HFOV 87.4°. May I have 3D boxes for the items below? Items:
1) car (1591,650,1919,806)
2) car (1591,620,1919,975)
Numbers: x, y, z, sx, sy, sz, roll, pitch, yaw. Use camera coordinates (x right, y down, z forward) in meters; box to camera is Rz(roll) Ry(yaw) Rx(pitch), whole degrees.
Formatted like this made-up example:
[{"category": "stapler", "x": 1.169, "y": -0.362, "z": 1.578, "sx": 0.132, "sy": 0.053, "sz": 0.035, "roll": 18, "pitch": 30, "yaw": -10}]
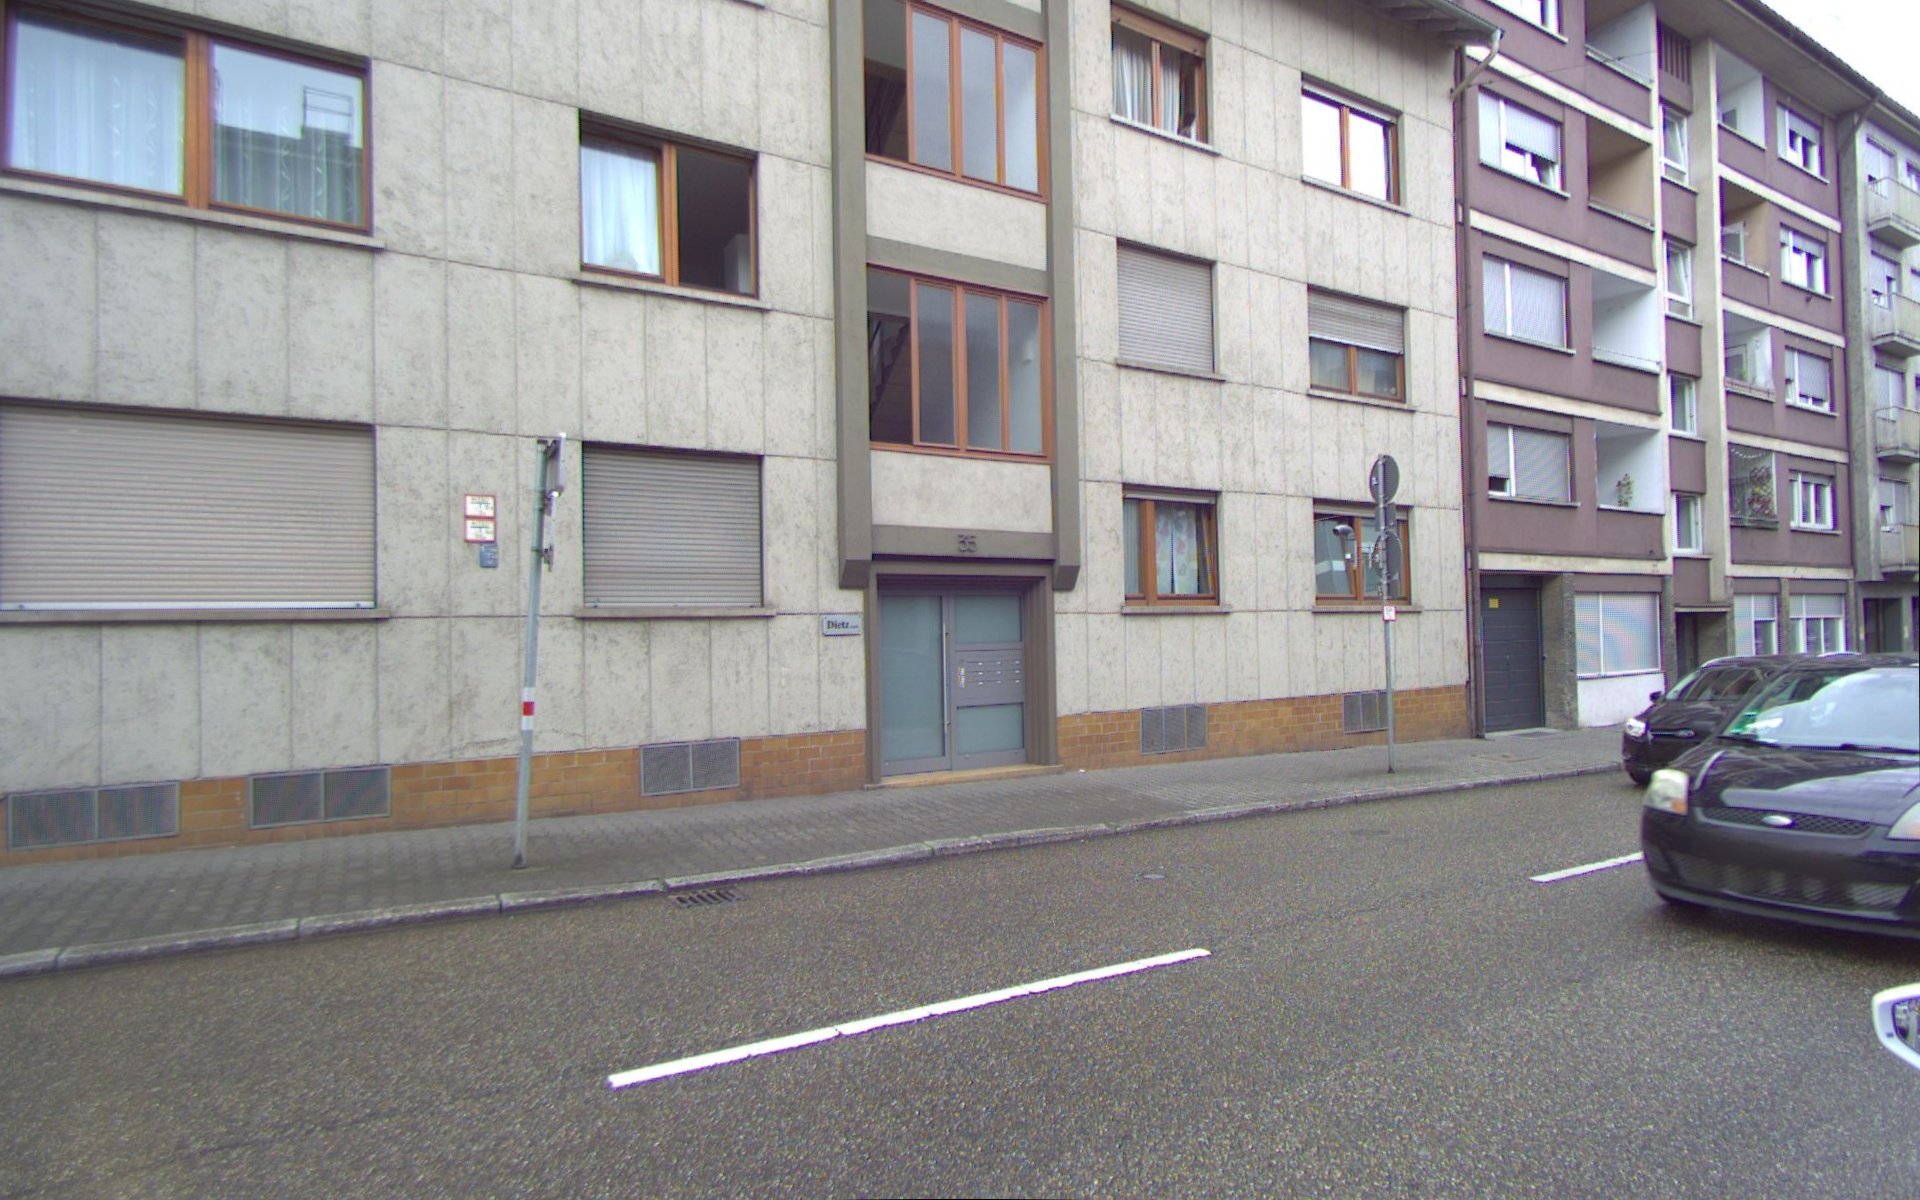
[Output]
[{"category": "car", "x": 9.479, "y": 1.376, "z": 11.815, "sx": 4.325, "sy": 1.492, "sz": 1.714, "roll": 1, "pitch": -4, "yaw": -32}, {"category": "car", "x": 5.716, "y": 0.967, "z": 6.023, "sx": 4.172, "sy": 1.559, "sz": 1.610, "roll": 2, "pitch": -4, "yaw": -33}]
